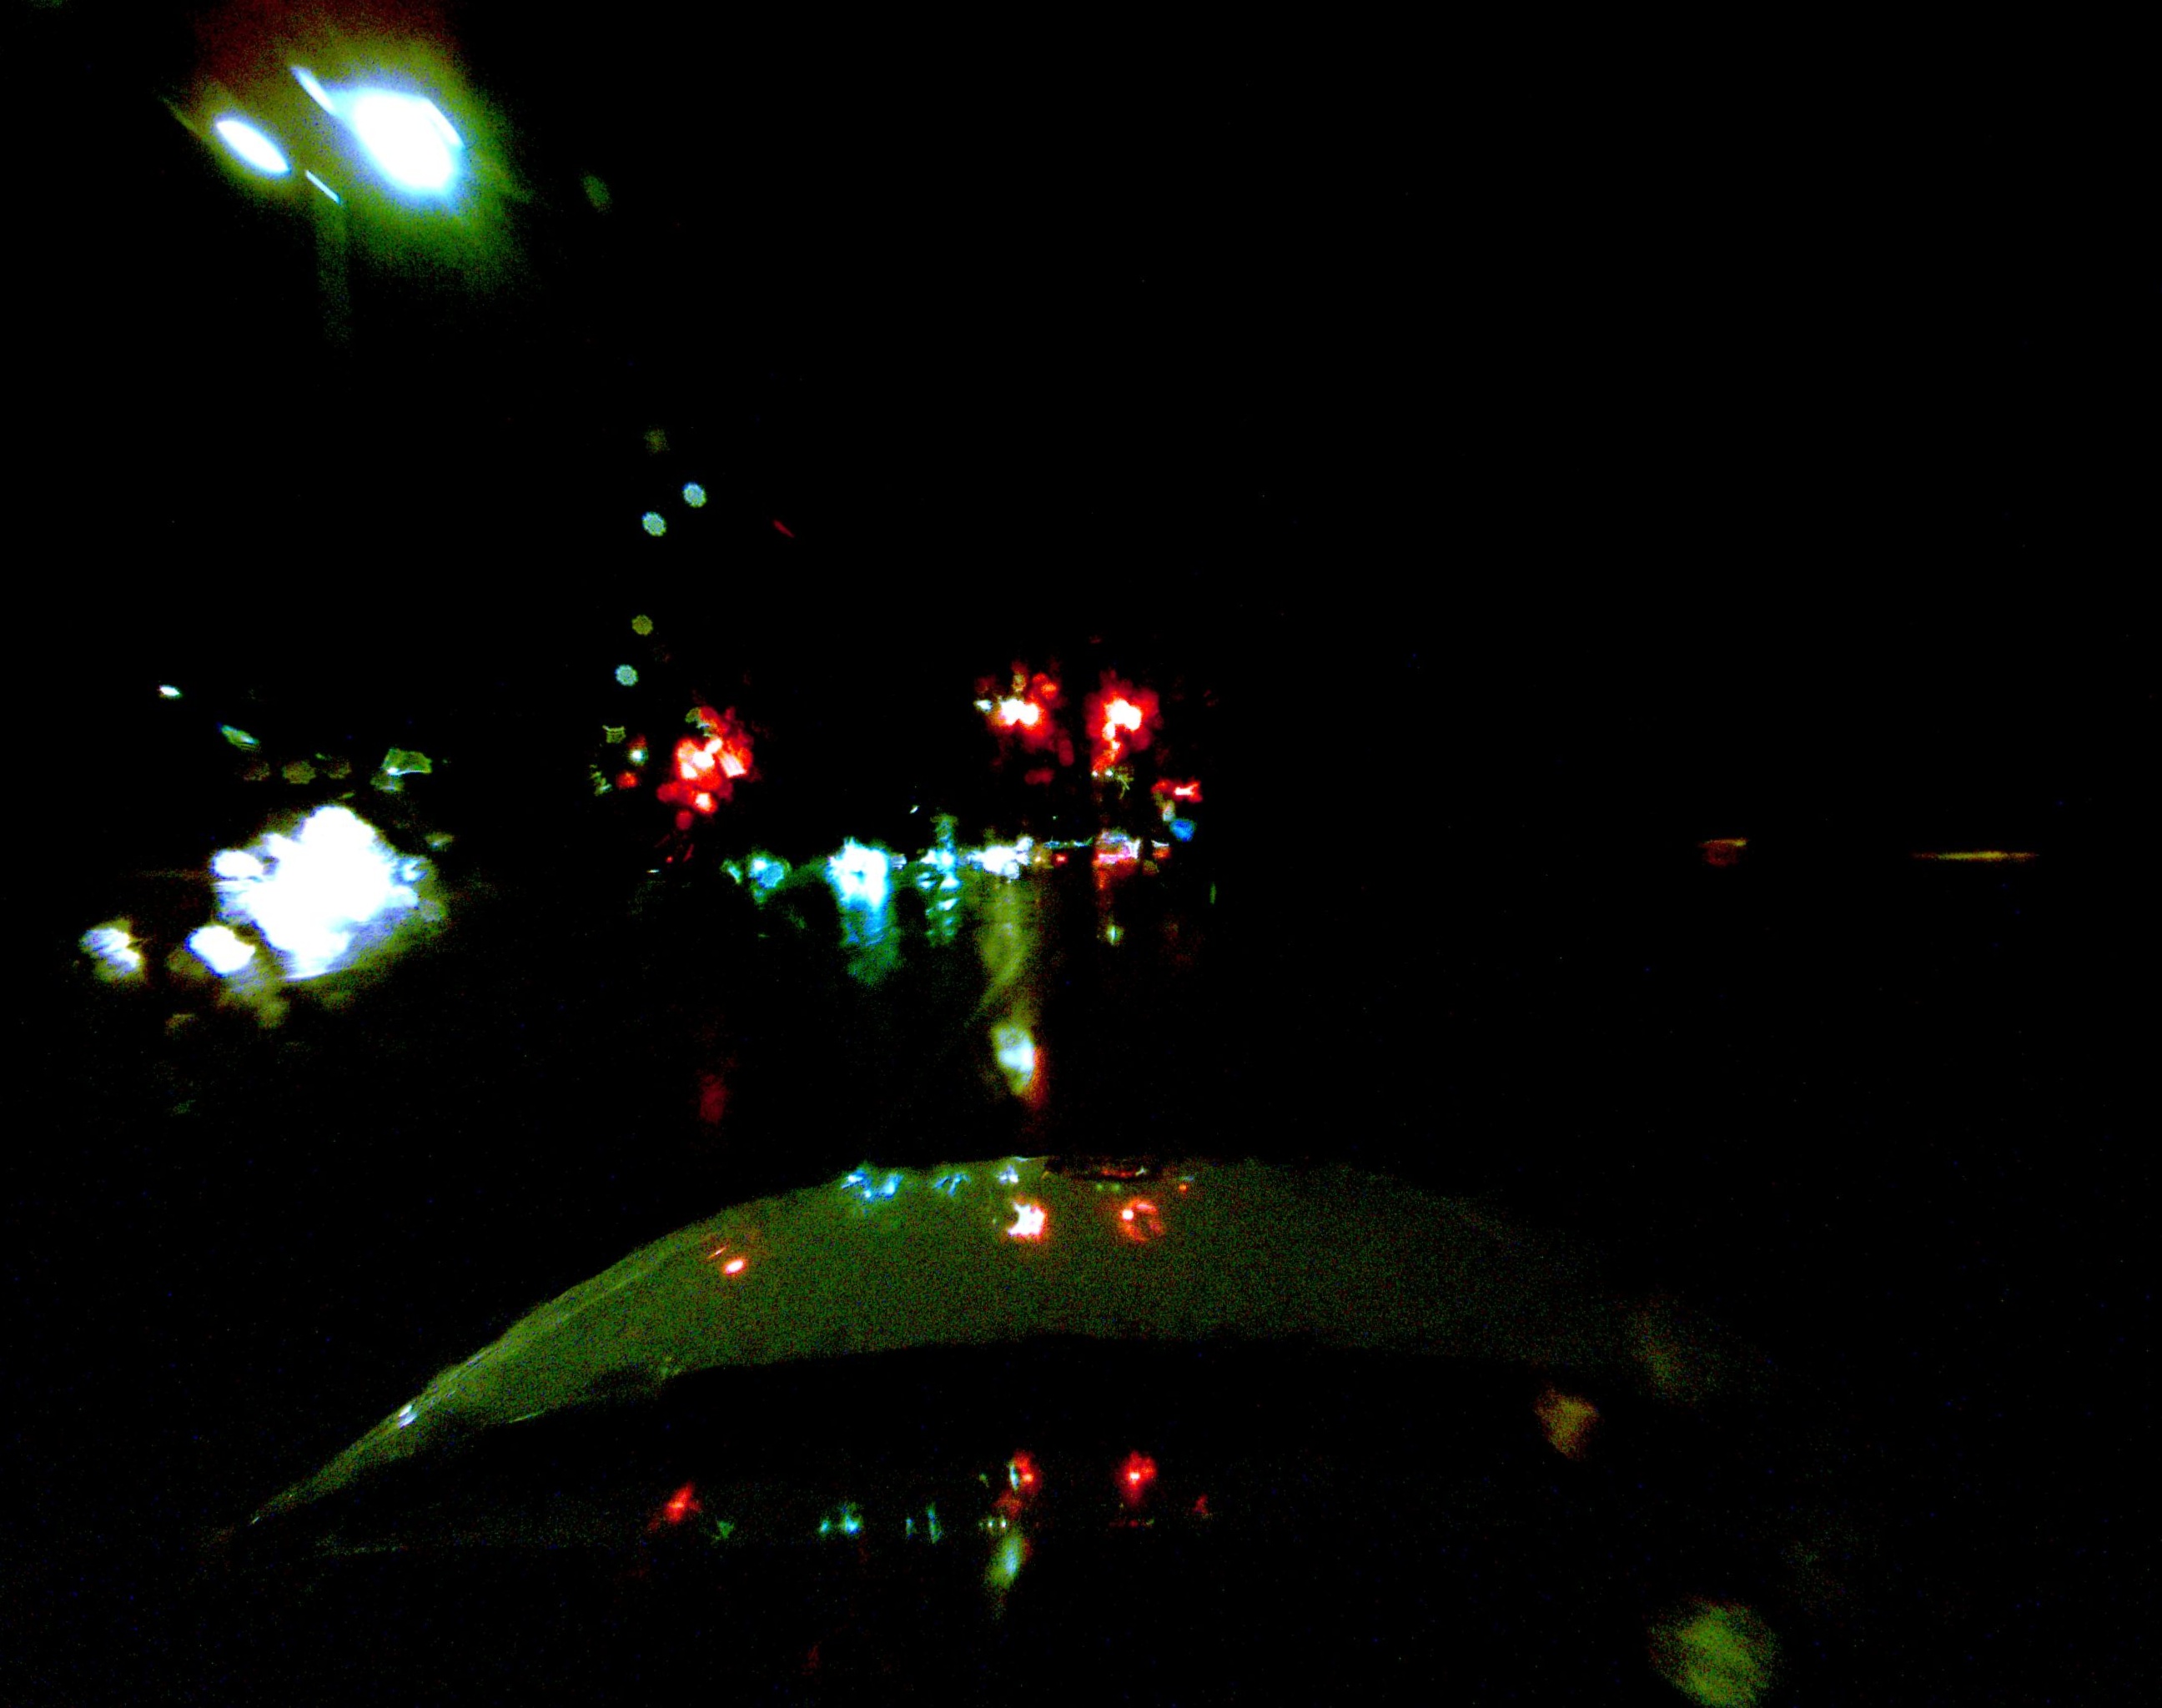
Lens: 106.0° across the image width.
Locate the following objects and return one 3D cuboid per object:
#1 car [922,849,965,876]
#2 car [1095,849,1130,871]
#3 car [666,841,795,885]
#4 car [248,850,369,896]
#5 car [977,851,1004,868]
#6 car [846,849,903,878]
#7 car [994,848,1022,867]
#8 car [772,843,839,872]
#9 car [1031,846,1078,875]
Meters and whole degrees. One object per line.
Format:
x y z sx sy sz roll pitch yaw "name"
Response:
-8.342 0.466 49.768 1.693 1.571 4.713 0 0 1 "car"
2.024 0.363 51.828 2.098 1.339 4.297 0 0 3 "car"
-13.384 0.352 31.262 4.075 1.610 2.000 0 -1 1 "car"
-29.383 0.715 30.961 4.452 1.653 1.722 -1 -1 23 "car"
-8.357 0.550 75.397 1.987 1.530 4.000 0 -1 0 "car"
-11.702 0.498 46.492 1.784 1.571 4.918 0 0 3 "car"
-5.958 0.284 66.686 1.577 1.526 3.658 0 -1 7 "car"
-18.853 0.200 55.714 4.016 1.831 1.704 -2 1 -34 "car"
-1.330 0.331 42.538 2.094 1.439 4.003 0 -1 3 "car"
